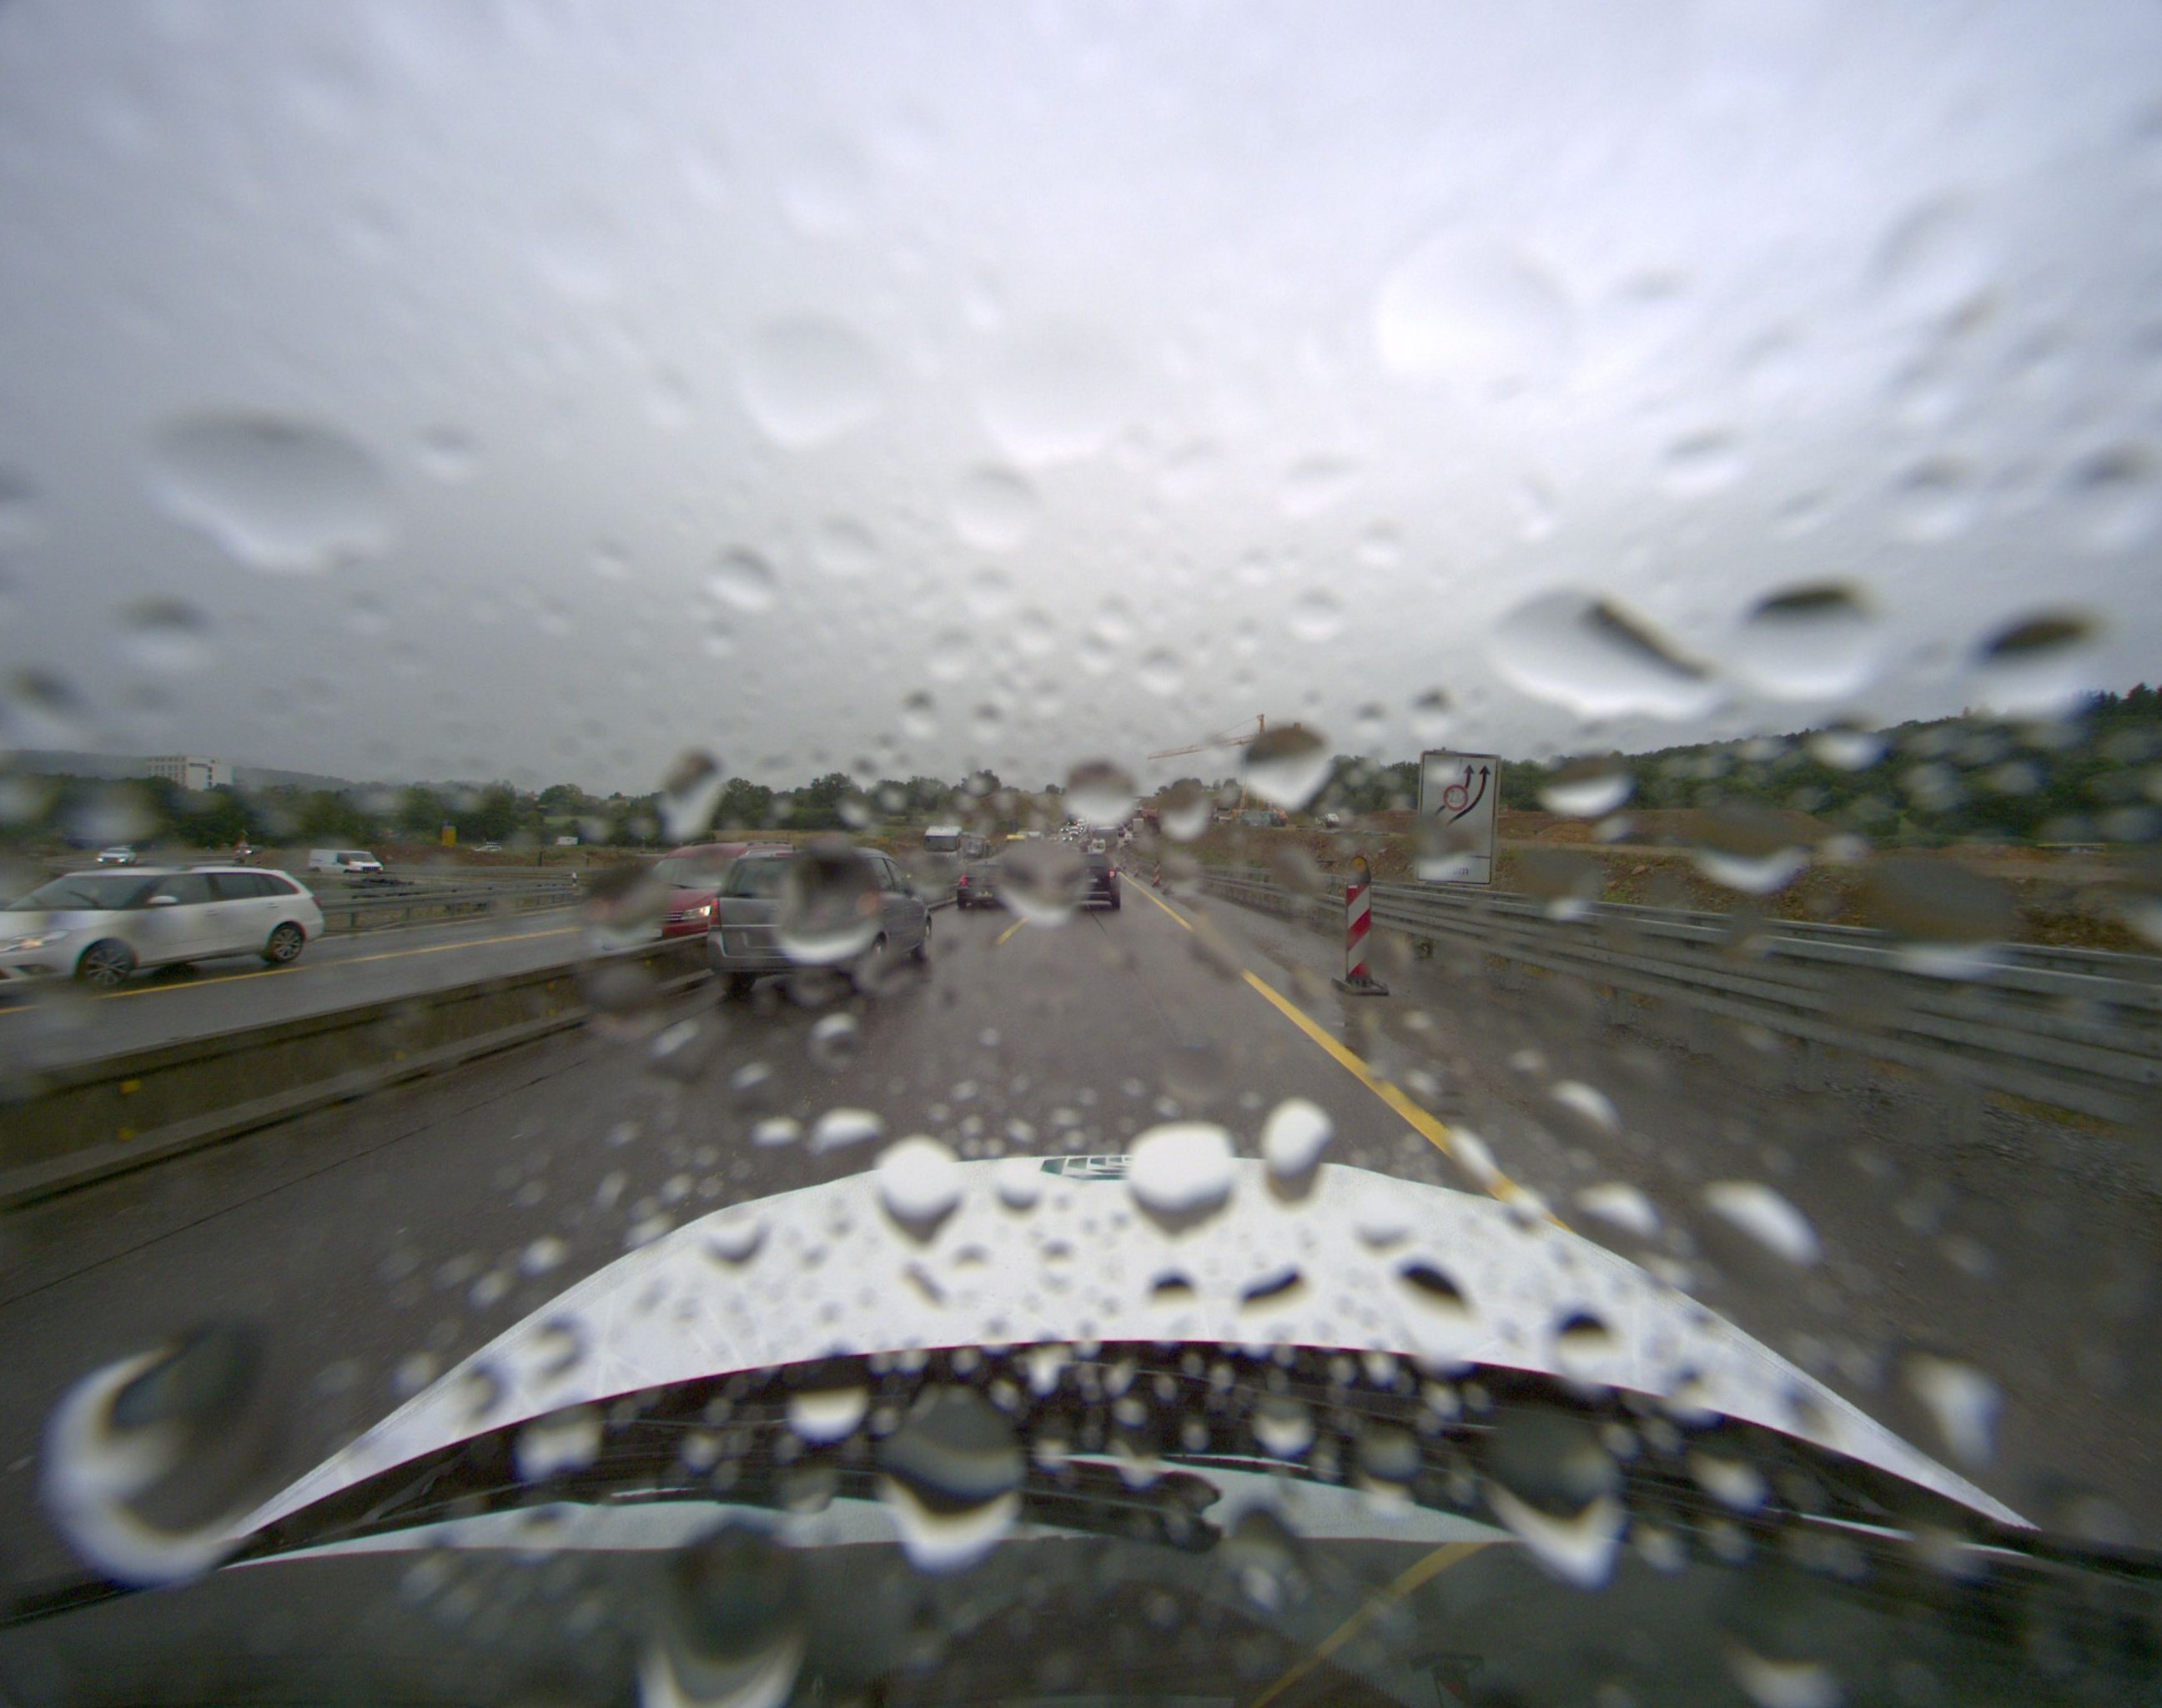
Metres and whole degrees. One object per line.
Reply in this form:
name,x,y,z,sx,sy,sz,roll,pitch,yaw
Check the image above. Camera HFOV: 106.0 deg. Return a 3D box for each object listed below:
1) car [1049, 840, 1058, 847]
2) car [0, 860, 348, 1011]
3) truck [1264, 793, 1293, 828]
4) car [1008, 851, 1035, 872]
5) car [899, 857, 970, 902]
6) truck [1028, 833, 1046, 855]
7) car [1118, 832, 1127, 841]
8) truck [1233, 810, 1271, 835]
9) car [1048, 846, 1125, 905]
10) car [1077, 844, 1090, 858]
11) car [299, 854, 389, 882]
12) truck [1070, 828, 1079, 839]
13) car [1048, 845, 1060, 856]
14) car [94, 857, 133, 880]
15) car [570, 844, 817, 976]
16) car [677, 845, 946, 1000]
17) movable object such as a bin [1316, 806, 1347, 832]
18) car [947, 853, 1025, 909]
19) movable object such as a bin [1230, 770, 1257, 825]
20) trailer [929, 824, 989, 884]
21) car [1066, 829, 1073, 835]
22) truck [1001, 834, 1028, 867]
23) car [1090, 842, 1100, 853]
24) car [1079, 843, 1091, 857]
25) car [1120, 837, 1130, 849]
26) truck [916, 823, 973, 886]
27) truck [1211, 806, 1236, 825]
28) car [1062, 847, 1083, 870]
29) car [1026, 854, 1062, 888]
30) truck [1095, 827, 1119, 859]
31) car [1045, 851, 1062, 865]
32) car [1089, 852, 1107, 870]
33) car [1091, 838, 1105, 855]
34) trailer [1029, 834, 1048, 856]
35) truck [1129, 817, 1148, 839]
car,-6.117,-2.374,180.993,1.782,1.546,4.000,0,1,0
car,-12.849,0.965,11.186,1.842,1.576,4.264,-3,1,-5
truck,25.948,-5.668,107.169,2.365,4.218,5.979,0,0,0
car,-5.278,0.673,72.491,1.868,1.793,5.360,-1,0,1
car,-5.989,1.006,33.811,1.986,1.655,4.471,-2,0,1
truck,-7.304,-1.612,136.385,2.612,3.677,6.595,0,0,0
car,10.027,-4.255,198.823,1.987,2.013,4.001,-1,2,1
truck,21.664,-3.976,103.786,3.382,2.875,8.965,0,0,2
car,0.213,0.589,24.194,2.073,1.600,4.142,0,0,2
car,0.368,-0.423,124.634,1.987,2.163,4.140,0,0,0
car,-53.188,1.004,58.779,4.995,2.013,2.280,0,0,12
truck,-1.646,-5.040,200.276,2.071,2.576,5.962,0,0,0
car,-4.562,-0.608,140.104,1.859,1.800,4.163,0,0,0
car,-92.311,1.361,77.758,4.783,2.062,2.083,0,0,44
car,-6.264,0.760,13.941,1.840,1.748,4.843,-3,1,0
car,-3.151,0.715,10.535,1.986,1.600,4.142,0,0,2
movable object such as a bin,37.507,-5.231,122.205,2.335,3.599,6.555,0,0,-2
car,-2.876,0.772,25.558,1.987,1.600,4.139,0,0,-1
movable object such as a bin,34.410,-11.800,172.205,4.683,10.842,10.346,0,0,15
trailer,-8.856,0.015,60.201,2.676,3.963,9.821,-2,0,1
car,-3.170,-6.017,221.821,1.780,1.538,4.313,-1,1,1
truck,-8.271,-0.426,102.335,2.739,4.062,6.149,0,0,1
car,2.789,-1.306,160.332,1.986,2.163,4.142,0,0,1
car,0.657,-0.656,135.472,1.986,2.163,4.142,0,0,1
car,9.400,-2.285,174.929,1.986,2.484,4.743,0,0,2
truck,-8.974,0.030,53.938,2.676,3.927,5.274,-2,0,1
truck,21.853,-5.880,125.318,2.636,2.554,6.984,0,0,0
car,-0.857,0.424,79.401,1.988,2.163,4.137,0,0,-2
car,-2.210,1.011,49.718,1.987,2.013,3.893,0,0,0
truck,4.554,-1.858,142.392,3.083,5.426,9.466,0,0,9
car,-3.518,0.525,104.621,1.986,1.759,4.688,0,0,1
car,2.031,0.819,96.873,1.986,2.163,4.142,0,0,2
car,2.537,-1.055,119.188,1.986,2.484,4.984,0,0,2
trailer,-7.274,-1.588,142.119,2.611,3.677,12.003,0,0,0
truck,14.002,-6.376,200.517,3.791,5.042,12.921,0,0,0
